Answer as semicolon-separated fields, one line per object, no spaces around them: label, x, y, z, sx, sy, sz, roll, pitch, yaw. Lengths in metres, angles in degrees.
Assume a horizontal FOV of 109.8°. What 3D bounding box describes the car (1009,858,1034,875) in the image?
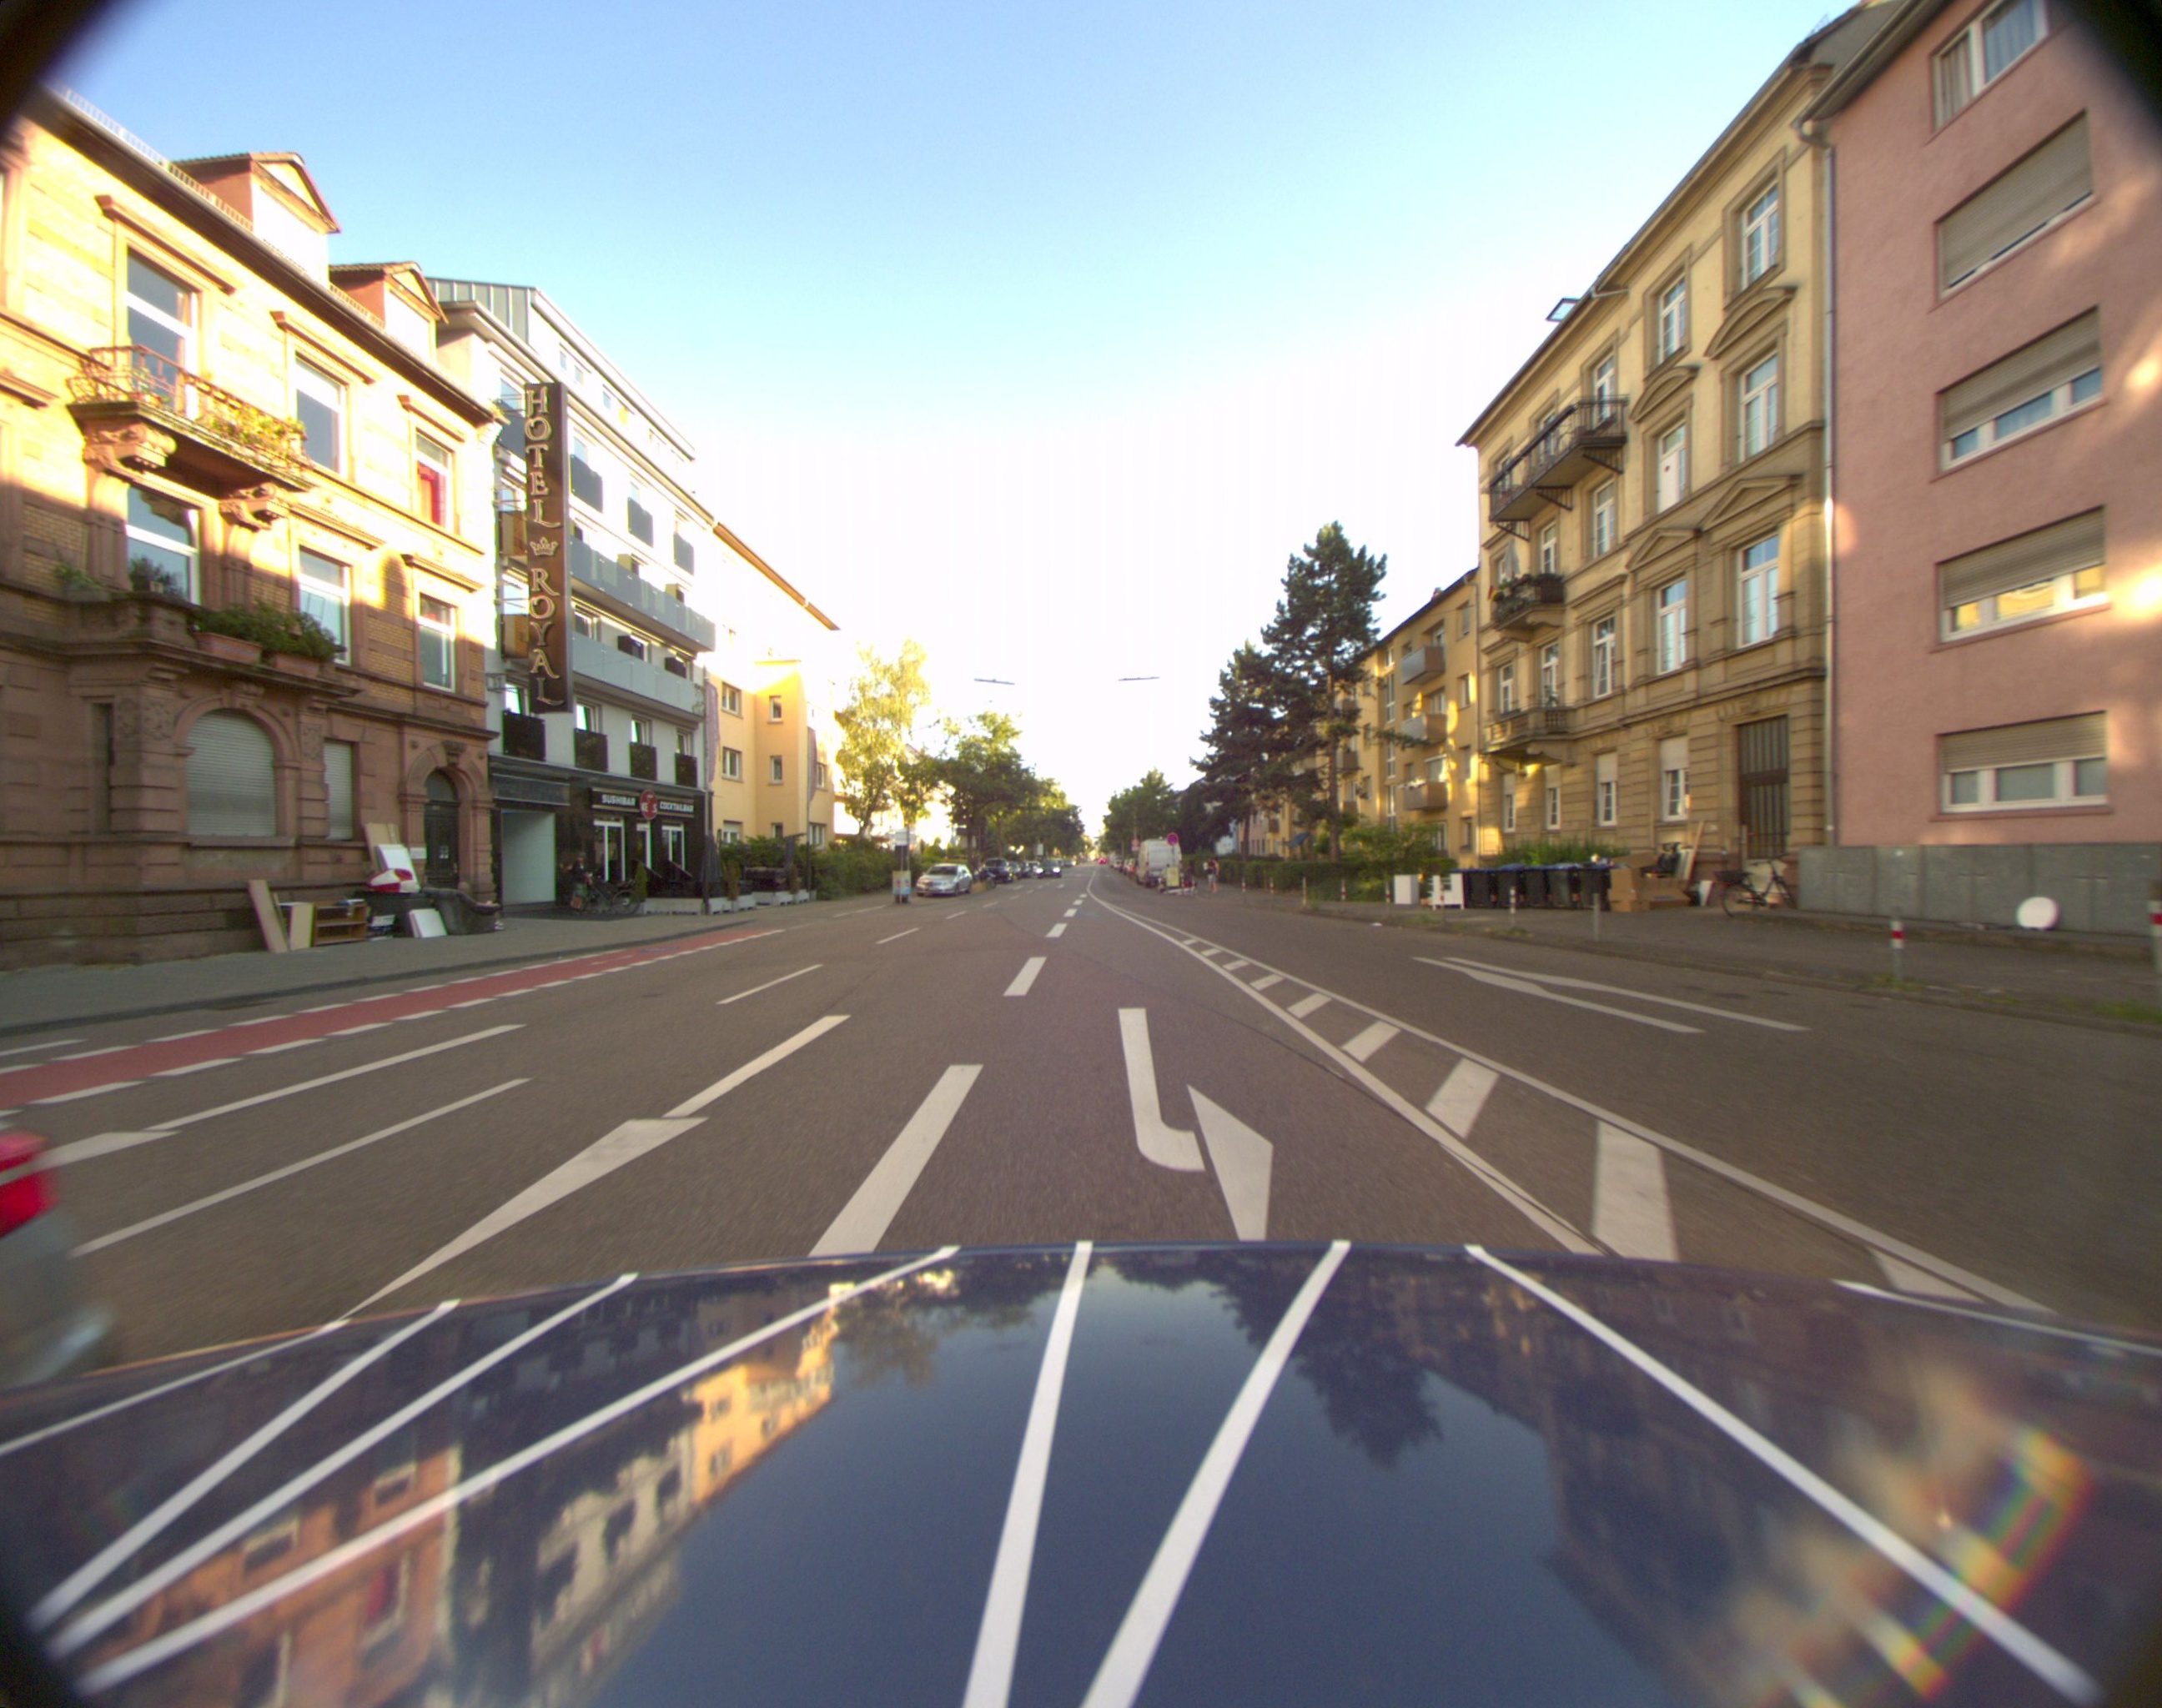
car;-5.278;1.100;68.147;1.774;1.440;4.485;0;0;1

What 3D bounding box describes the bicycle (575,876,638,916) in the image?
bicycle;-13.623;1.195;21.854;1.427;1.104;0.488;2;0;-16

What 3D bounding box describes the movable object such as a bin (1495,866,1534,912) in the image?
movable object such as a bin;11.063;0.878;19.378;0.643;1.104;0.582;-4;2;-29

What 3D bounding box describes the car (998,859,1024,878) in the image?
car;-5.620;1.131;61.348;1.721;1.463;4.431;0;0;0

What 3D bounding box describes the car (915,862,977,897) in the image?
car;-6.383;1.154;36.508;1.860;1.503;4.835;1;0;3

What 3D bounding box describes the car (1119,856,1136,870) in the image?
car;5.302;1.026;87.354;1.842;1.508;4.316;-2;0;2

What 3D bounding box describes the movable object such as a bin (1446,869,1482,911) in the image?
movable object such as a bin;10.380;0.961;20.589;0.643;1.077;0.582;-4;2;-29

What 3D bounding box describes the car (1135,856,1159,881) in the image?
car;4.273;0.945;49.591;1.407;1.539;2.762;-3;0;3

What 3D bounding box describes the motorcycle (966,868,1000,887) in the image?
motorcycle;-5.709;1.369;44.173;1.932;1.065;0.819;-1;0;-10

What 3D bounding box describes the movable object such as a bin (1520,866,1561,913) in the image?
movable object such as a bin;11.370;0.858;18.806;0.643;1.104;0.582;-4;2;-29

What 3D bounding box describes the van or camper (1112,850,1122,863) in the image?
van or camper;7.239;0.568;153.620;1.917;2.528;5.335;-1;0;2

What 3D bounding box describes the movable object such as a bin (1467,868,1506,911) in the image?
movable object such as a bin;10.650;0.932;19.978;0.643;1.062;0.626;-4;2;-29

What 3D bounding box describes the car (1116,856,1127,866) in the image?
car;6.156;1.119;115.715;1.684;1.434;3.882;-2;0;3

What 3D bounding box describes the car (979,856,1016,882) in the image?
car;-5.695;0.996;52.523;1.952;1.645;4.796;-1;0;1

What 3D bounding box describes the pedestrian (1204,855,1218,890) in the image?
pedestrian;6.061;0.850;35.444;0.481;1.642;0.725;0;0;-5

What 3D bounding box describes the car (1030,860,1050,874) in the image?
car;-4.260;1.368;78.999;1.766;1.394;4.334;0;0;2

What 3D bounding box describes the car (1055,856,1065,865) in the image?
car;-3.740;1.191;136.174;1.798;1.577;3.999;0;0;-1

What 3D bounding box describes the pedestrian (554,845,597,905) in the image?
pedestrian;-13.992;0.566;21.045;0.708;1.633;0.693;-1;0;1

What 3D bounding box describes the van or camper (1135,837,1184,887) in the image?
van or camper;4.502;0.418;44.754;2.041;2.648;6.015;-3;0;-1

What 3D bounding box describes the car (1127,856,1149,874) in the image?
car;5.199;0.962;69.951;1.781;1.579;4.186;-2;0;2

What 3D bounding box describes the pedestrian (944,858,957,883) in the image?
pedestrian;-8.712;1.109;50.802;0.748;1.606;0.579;-1;0;0

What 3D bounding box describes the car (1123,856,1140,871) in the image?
car;5.440;1.030;82.213;1.595;1.483;3.641;-2;1;1

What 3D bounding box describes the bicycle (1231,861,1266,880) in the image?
bicycle;9.334;0.938;42.378;1.789;0.976;0.590;-2;0;3

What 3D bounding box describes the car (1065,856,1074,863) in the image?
car;-2.542;1.213;166.970;1.797;1.558;3.672;0;0;2

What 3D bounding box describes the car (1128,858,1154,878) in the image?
car;4.591;1.026;58.772;1.721;1.443;3.923;-2;0;1

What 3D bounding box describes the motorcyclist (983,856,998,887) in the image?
motorcyclist;-5.286;0.998;44.304;0.738;1.767;1.087;-1;0;-10

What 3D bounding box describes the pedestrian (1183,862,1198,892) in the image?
pedestrian;5.155;1.098;35.842;0.560;1.370;0.480;-2;0;-4

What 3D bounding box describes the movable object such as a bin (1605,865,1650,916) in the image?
movable object such as a bin;12.333;0.808;17.153;0.643;1.104;0.582;-4;2;-29

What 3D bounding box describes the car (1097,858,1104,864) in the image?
car;5.825;2.014;226.793;1.699;1.570;3.831;-2;0;0

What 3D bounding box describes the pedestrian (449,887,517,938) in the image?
pedestrian;-13.153;1.274;16.733;0.692;1.037;0.945;-1;0;5

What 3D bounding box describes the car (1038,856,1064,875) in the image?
car;-2.491;0.941;64.176;1.998;1.525;4.000;-1;0;0

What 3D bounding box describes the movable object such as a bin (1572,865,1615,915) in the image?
movable object such as a bin;11.925;0.833;17.679;0.643;1.104;0.582;-4;2;-29

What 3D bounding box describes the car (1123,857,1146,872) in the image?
car;5.249;0.991;74.947;1.998;1.439;4.458;-1;0;1

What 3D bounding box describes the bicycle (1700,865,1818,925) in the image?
bicycle;13.332;0.799;14.971;1.652;0.961;0.662;-6;0;0

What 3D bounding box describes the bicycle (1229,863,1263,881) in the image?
bicycle;9.355;1.010;43.131;1.763;0.976;0.590;-2;0;3

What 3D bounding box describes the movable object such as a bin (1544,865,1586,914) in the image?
movable object such as a bin;11.560;0.844;18.166;0.643;1.104;0.582;-4;2;-29

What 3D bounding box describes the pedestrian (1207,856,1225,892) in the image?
pedestrian;6.148;0.903;34.662;0.606;1.642;0.697;-1;0;-5
